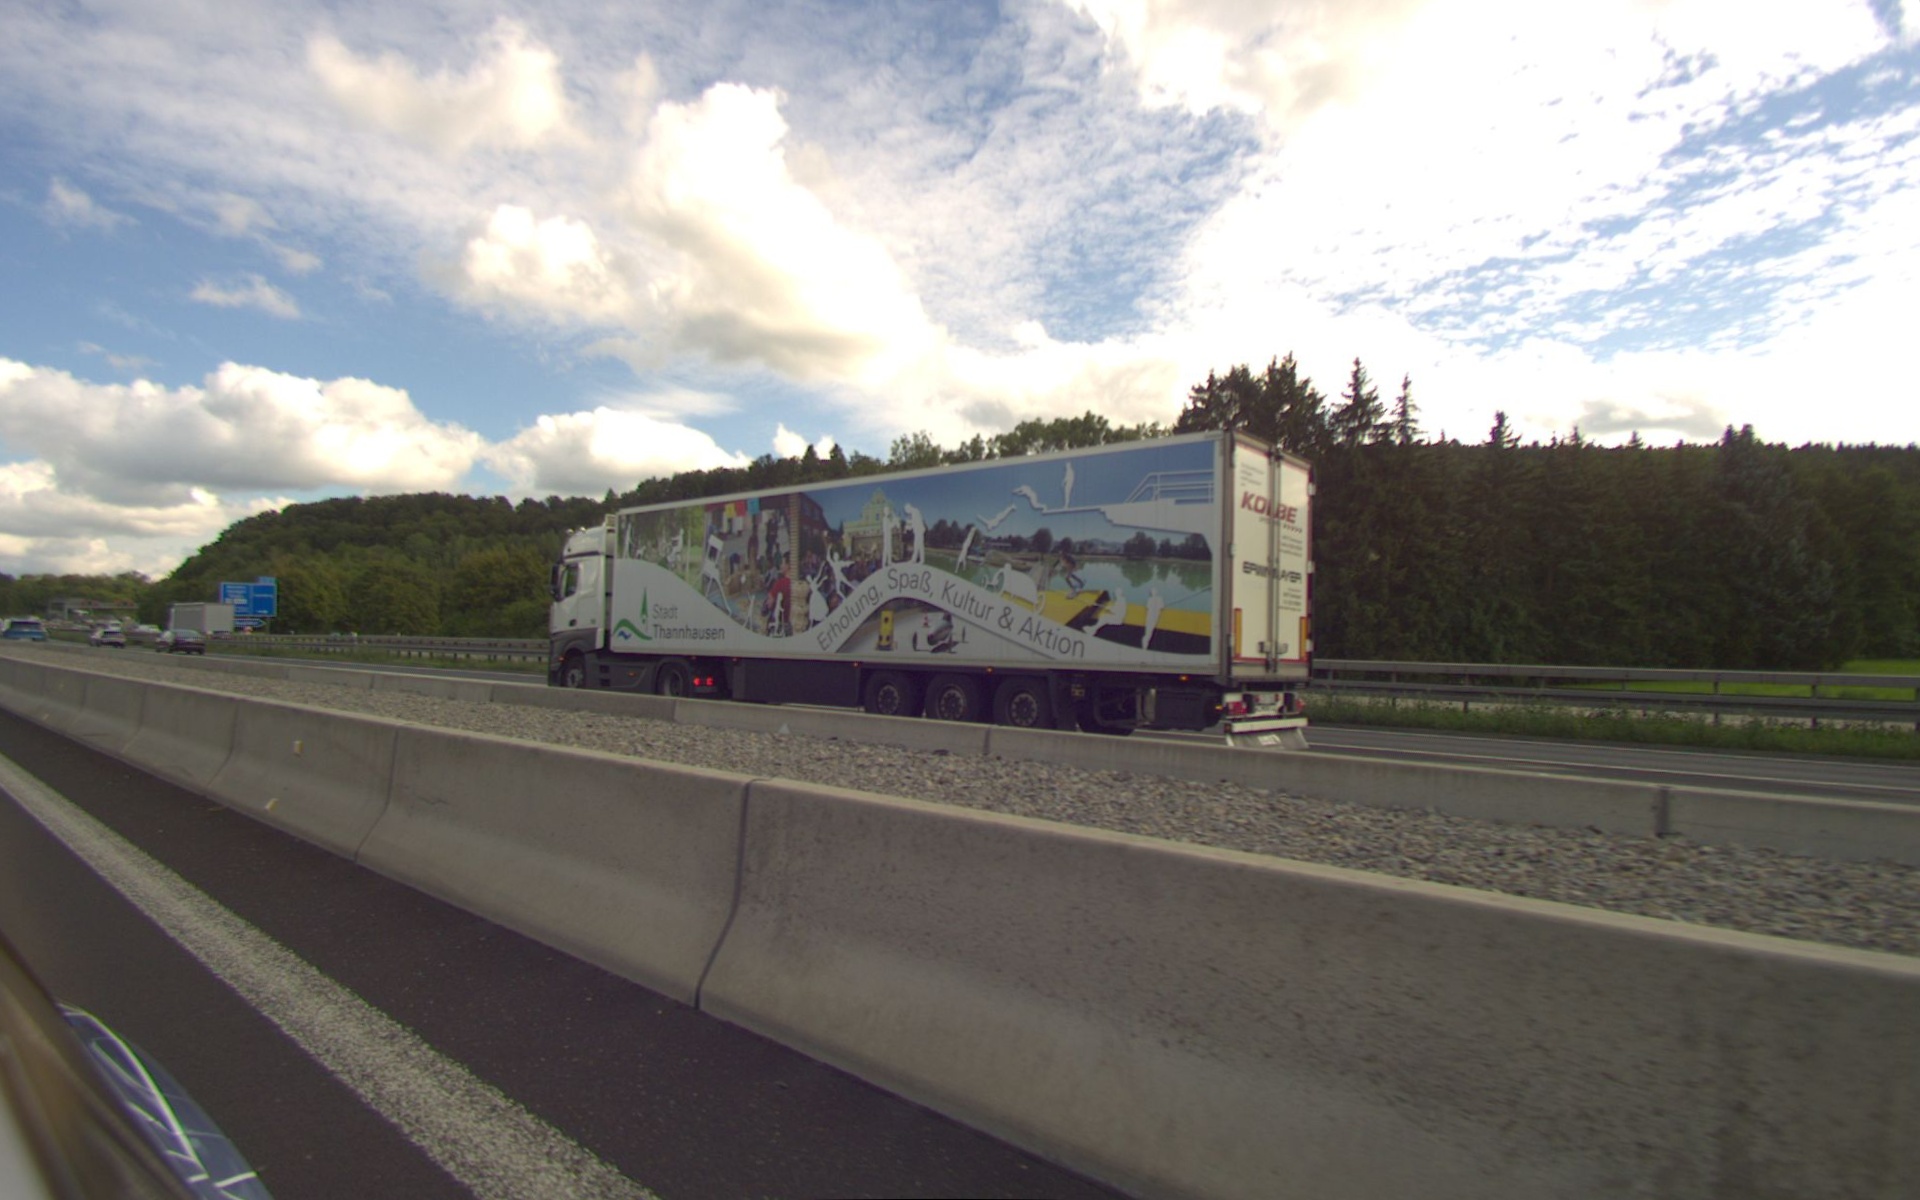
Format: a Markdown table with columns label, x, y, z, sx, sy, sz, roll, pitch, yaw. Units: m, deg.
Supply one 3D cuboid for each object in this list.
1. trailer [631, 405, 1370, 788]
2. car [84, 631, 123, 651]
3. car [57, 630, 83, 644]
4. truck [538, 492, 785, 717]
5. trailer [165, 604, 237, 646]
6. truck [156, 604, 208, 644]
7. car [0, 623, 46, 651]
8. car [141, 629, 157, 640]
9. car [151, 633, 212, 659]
| label | x | y | z | sx | sy | sz | roll | pitch | yaw |
| --- | --- | --- | --- | --- | --- | --- | --- | --- | --- |
| trailer | -0.573 | 0.079 | 16.303 | 13.277 | 4.160 | 2.462 | -1 | -3 | 41 |
| car | -69.422 | 3.308 | 82.007 | 4.994 | 1.506 | 1.628 | -1 | -3 | 41 |
| car | -108.476 | 4.525 | 123.312 | 4.710 | 1.630 | 1.971 | -1 | -3 | 45 |
| truck | -6.403 | 0.159 | 21.411 | 5.296 | 4.160 | 2.462 | -1 | -3 | 41 |
| trailer | -77.868 | 2.551 | 103.657 | 13.380 | 4.124 | 3.118 | -1 | -3 | 41 |
| truck | -83.489 | 2.614 | 108.640 | 6.284 | 4.097 | 3.119 | -1 | -3 | 41 |
| car | -52.735 | 2.033 | 56.574 | 4.970 | 1.506 | 1.828 | -1 | -3 | 41 |
| car | -155.719 | 6.633 | 194.337 | 2.140 | 1.937 | 5.164 | 3 | -3 | -41 |
| car | -48.221 | 2.811 | 62.641 | 5.304 | 1.506 | 1.922 | -1 | -3 | 41 |
